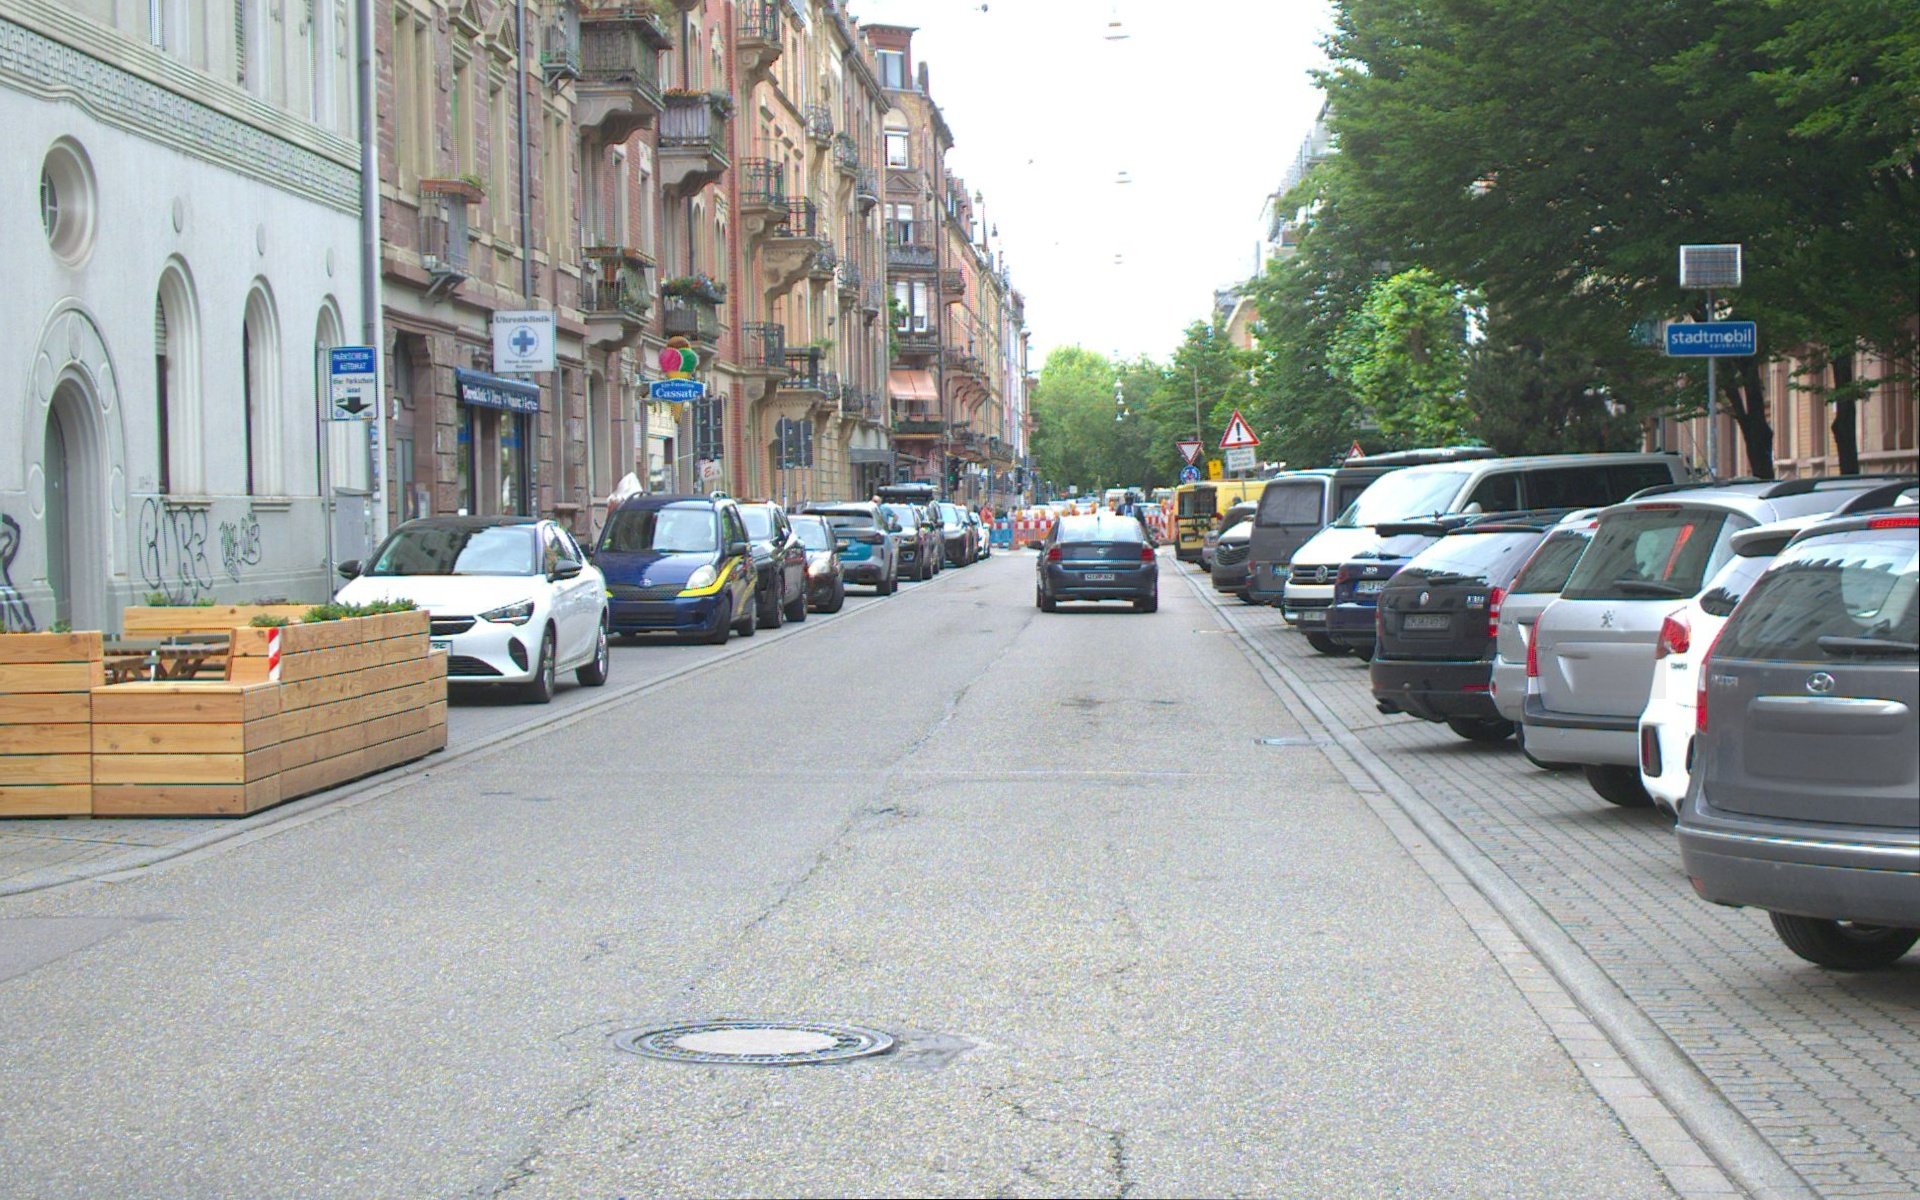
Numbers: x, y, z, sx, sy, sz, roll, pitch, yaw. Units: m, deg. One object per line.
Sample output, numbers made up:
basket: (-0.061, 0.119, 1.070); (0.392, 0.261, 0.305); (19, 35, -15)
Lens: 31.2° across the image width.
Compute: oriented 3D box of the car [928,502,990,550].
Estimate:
car: (-0.045, -2.426, 113.091); (1.993, 1.494, 4.000); (0, 0, -1)

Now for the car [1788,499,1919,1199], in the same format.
car: (4.108, 0.574, 7.989); (3.973, 1.538, 1.876); (0, 2, -28)

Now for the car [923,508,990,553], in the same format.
car: (-0.121, -2.107, 105.213); (1.993, 1.316, 4.000); (0, 0, -1)

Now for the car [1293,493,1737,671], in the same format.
car: (5.233, -0.190, 32.338); (3.851, 1.500, 1.771); (-2, 1, -31)

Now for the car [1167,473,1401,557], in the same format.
car: (7.891, -2.065, 83.617); (5.386, 1.861, 1.951); (-2, 1, -27)

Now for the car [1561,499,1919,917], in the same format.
car: (4.550, 0.313, 14.002); (4.047, 1.481, 1.682); (-2, 1, -33)

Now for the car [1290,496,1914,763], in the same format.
car: (4.164, 0.140, 22.086); (3.852, 1.500, 1.771); (-3, 1, -37)

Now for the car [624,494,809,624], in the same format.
car: (-3.119, -0.554, 44.676); (1.944, 1.611, 3.942); (0, 1, 3)

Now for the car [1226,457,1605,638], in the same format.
car: (5.284, -0.628, 39.929); (3.986, 2.007, 1.751); (-1, 1, -19)

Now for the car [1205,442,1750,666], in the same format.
car: (5.445, -0.516, 35.851); (5.607, 2.120, 1.950); (-2, 1, -31)

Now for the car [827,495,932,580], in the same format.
car: (-1.676, -1.326, 72.718); (1.944, 1.736, 3.942); (0, 1, 3)

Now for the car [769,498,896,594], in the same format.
car: (-2.208, -0.977, 60.602); (1.944, 1.611, 3.943); (-1, 2, 2)

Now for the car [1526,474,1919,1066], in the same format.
car: (3.999, 0.380, 10.719); (4.046, 1.579, 1.903); (-2, 1, -28)

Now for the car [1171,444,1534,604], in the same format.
car: (6.285, -1.218, 55.106); (5.385, 2.365, 1.951); (-2, 1, -18)

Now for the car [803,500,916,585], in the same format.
car: (-1.930, -1.128, 66.902); (1.944, 1.611, 3.942); (0, 1, 2)

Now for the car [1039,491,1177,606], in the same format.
car: (2.207, -0.762, 52.097); (1.993, 1.675, 4.000); (0, 0, 2)

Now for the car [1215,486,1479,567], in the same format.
car: (8.313, -1.582, 73.676); (5.386, 1.548, 1.951); (-2, 1, -27)

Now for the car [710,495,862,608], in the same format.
car: (-2.569, -0.742, 51.539); (1.944, 1.611, 3.942); (0, 1, 2)

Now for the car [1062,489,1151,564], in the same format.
car: (3.402, -1.691, 80.407); (1.993, 1.675, 4.000); (0, 0, 2)

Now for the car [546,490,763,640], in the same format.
car: (-3.424, -0.421, 39.213); (1.944, 1.611, 3.942); (0, 1, 3)

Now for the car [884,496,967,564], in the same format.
car: (-0.882, -1.860, 90.299); (1.944, 1.732, 3.942); (-1, 1, 3)

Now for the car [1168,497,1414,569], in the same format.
car: (7.579, -1.551, 78.643); (5.385, 1.548, 1.951); (-1, 2, -27)

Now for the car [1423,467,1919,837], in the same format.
car: (4.445, 0.163, 16.653); (4.046, 1.579, 1.771); (-2, 1, -28)

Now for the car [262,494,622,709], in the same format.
car: (-4.042, -0.027, 27.482); (1.944, 1.548, 3.817); (-2, 1, 5)

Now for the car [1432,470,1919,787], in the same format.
car: (4.822, 0.088, 19.304); (4.047, 1.579, 1.771); (-2, 1, -31)

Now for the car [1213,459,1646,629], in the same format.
car: (6.034, -0.739, 43.926); (5.386, 1.985, 1.950); (-2, 1, -31)
